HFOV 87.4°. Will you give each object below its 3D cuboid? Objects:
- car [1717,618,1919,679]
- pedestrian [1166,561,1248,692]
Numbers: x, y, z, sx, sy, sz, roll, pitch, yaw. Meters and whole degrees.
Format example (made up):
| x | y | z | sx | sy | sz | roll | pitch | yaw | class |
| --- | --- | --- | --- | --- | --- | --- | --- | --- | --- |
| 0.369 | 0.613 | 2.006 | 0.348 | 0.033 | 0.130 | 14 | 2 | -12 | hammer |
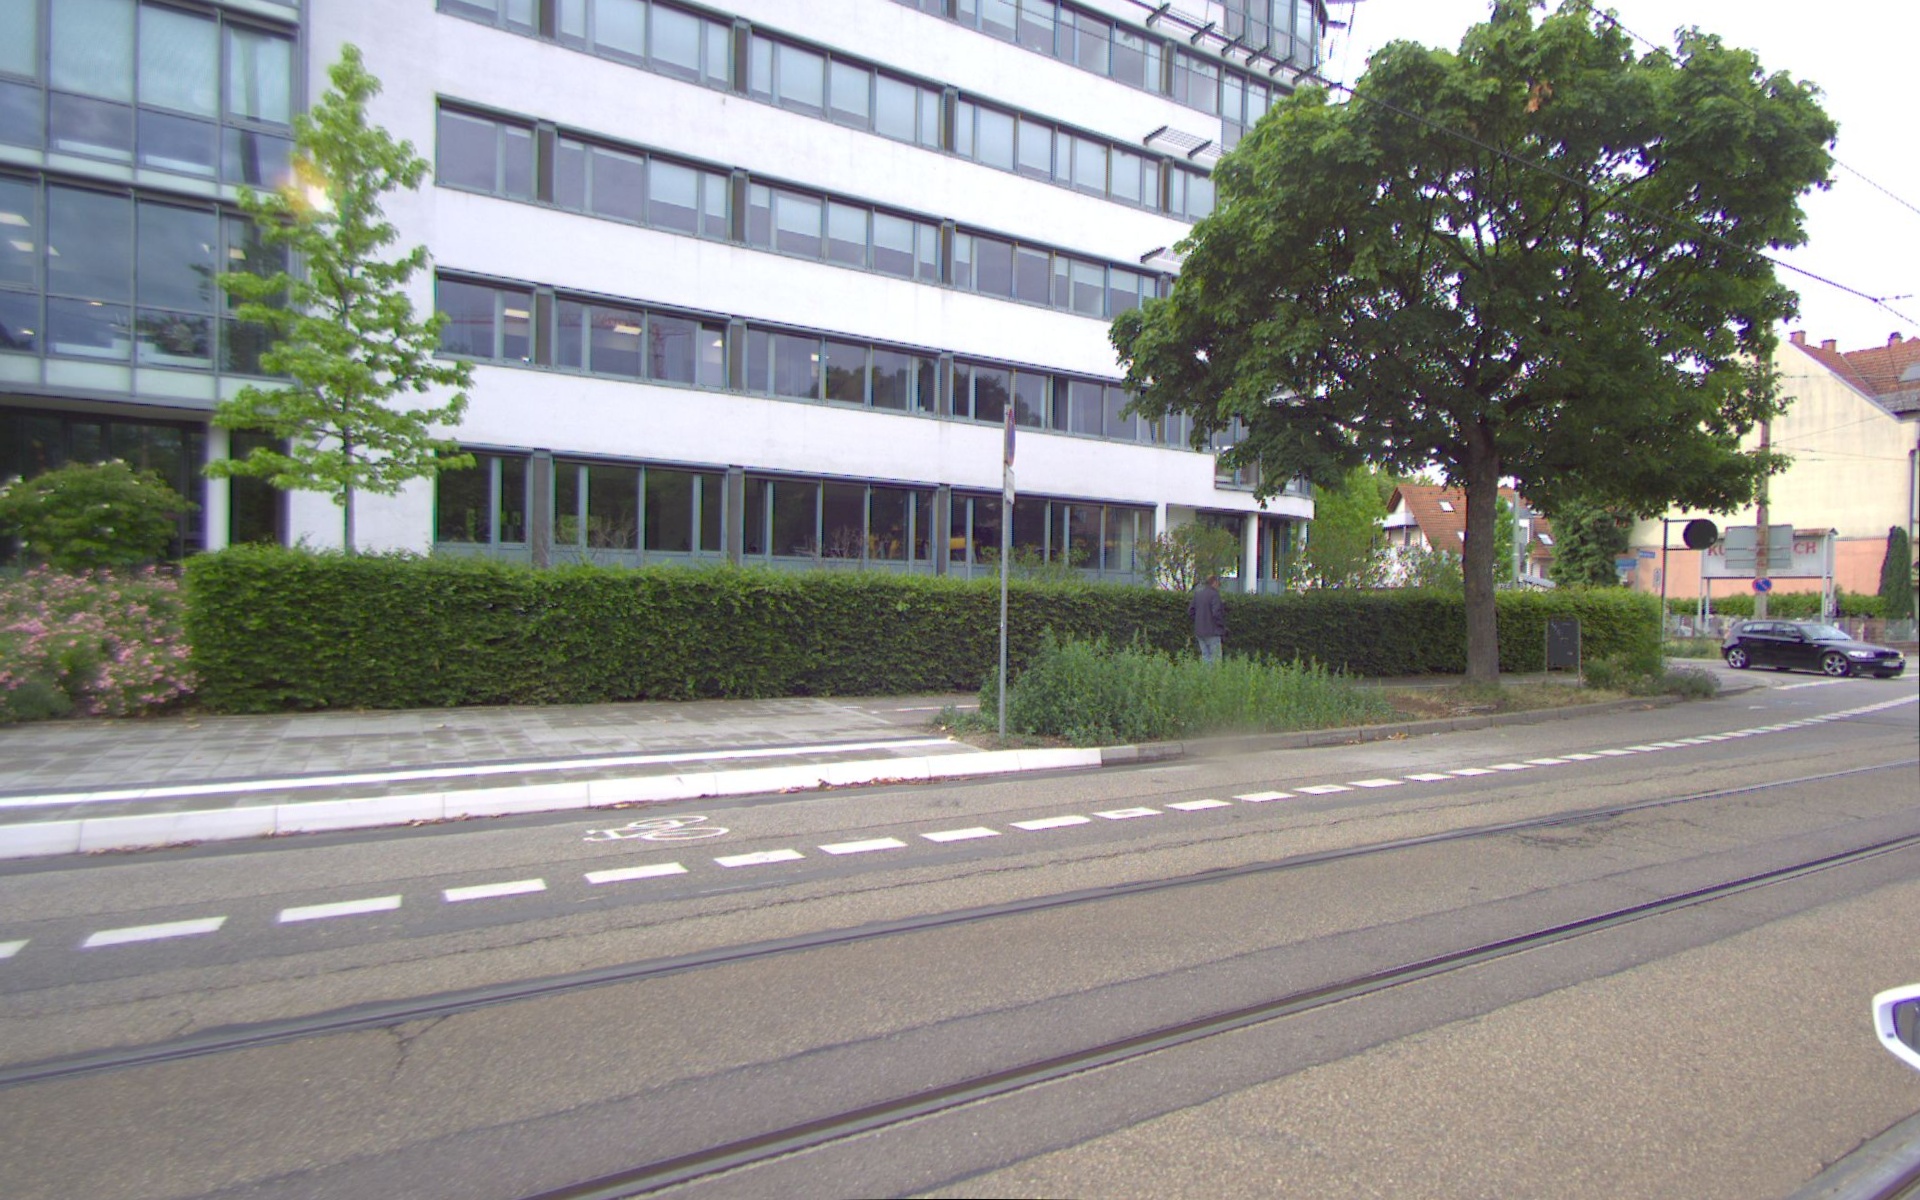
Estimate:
| x | y | z | sx | sy | sz | roll | pitch | yaw | class |
| --- | --- | --- | --- | --- | --- | --- | --- | --- | --- |
| 22.686 | 1.246 | 26.735 | 1.769 | 1.406 | 3.926 | 1 | 0 | -8 | car |
| 3.958 | 0.415 | 16.090 | 0.977 | 2.040 | 0.708 | 2 | 1 | -23 | pedestrian |
